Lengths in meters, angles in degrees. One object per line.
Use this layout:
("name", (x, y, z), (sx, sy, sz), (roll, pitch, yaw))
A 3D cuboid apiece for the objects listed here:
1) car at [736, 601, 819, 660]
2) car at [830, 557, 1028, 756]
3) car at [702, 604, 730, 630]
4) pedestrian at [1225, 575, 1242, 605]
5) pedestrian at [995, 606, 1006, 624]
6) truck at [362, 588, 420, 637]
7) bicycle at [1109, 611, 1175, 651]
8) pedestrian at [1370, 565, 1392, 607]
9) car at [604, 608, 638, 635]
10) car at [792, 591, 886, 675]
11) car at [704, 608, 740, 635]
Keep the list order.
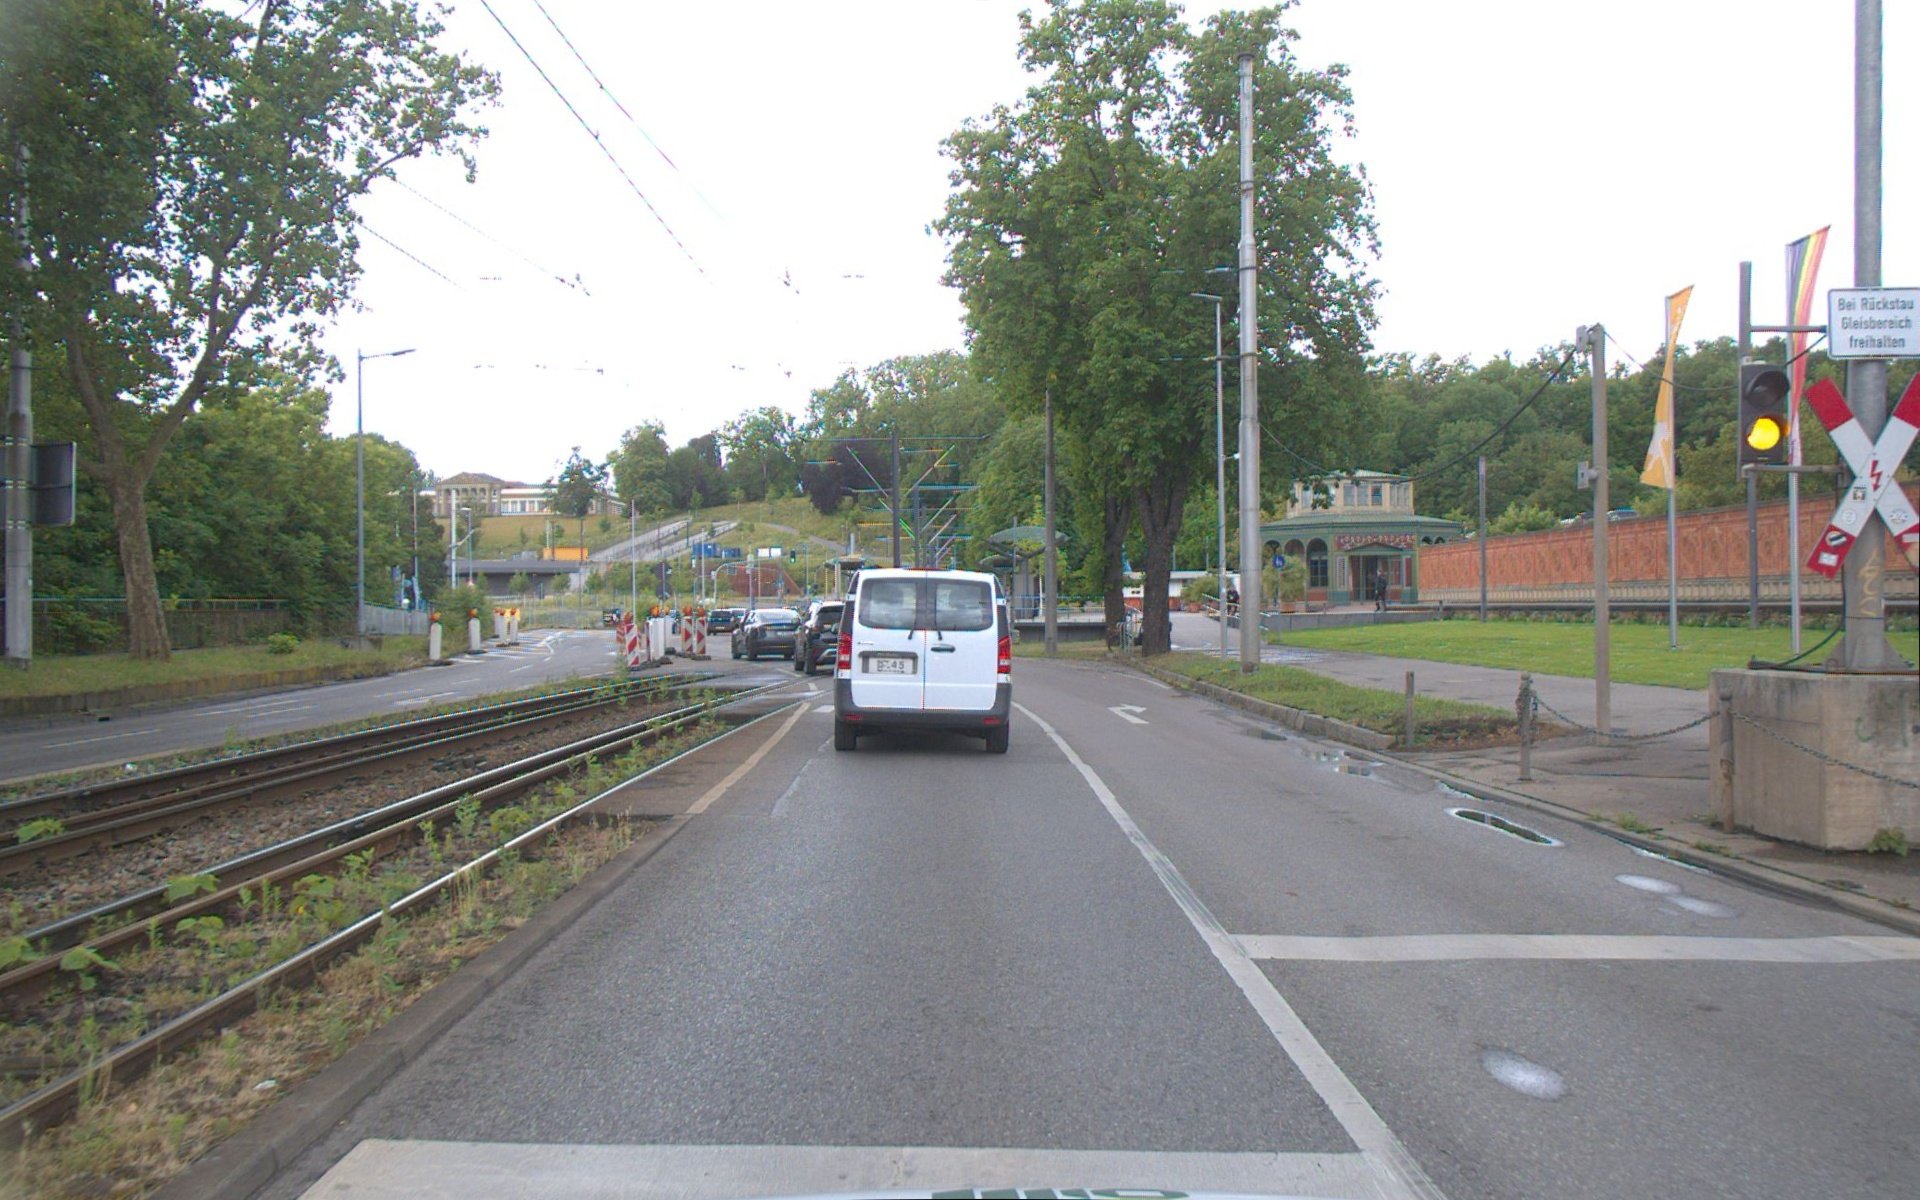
("car", (-5.302, 0.880, 47.706), (1.807, 1.610, 4.046), (1, -1, -14))
("car", (-0.331, 0.589, 18.467), (1.919, 1.937, 4.460), (1, -1, -1))
("car", (-19.313, 1.364, 131.131), (1.896, 2.049, 3.996), (1, -1, -4))
("pedestrian", (11.558, -0.413, 69.977), (0.537, 1.222, 0.668), (1, -1, -6))
("pedestrian", (2.679, 0.996, 109.403), (0.644, 1.212, 0.676), (1, -1, 2))
("truck", (-42.169, 0.957, 122.410), (2.760, 3.394, 8.402), (-2, 0, -27))
("bicycle", (5.538, 0.933, 50.359), (1.949, 1.178, 0.741), (-1, -1, 4))
("pedestrian", (19.186, -0.643, 75.327), (0.929, 1.870, 0.550), (1, -1, 14))
("car", (-20.544, 1.280, 100.263), (1.663, 1.487, 3.906), (-2, 0, -7))
("car", (-2.754, 0.724, 36.925), (1.804, 1.759, 4.054), (1, -1, -8))
("car", (-13.879, 1.249, 96.487), (1.806, 1.493, 4.050), (1, -1, -12))
